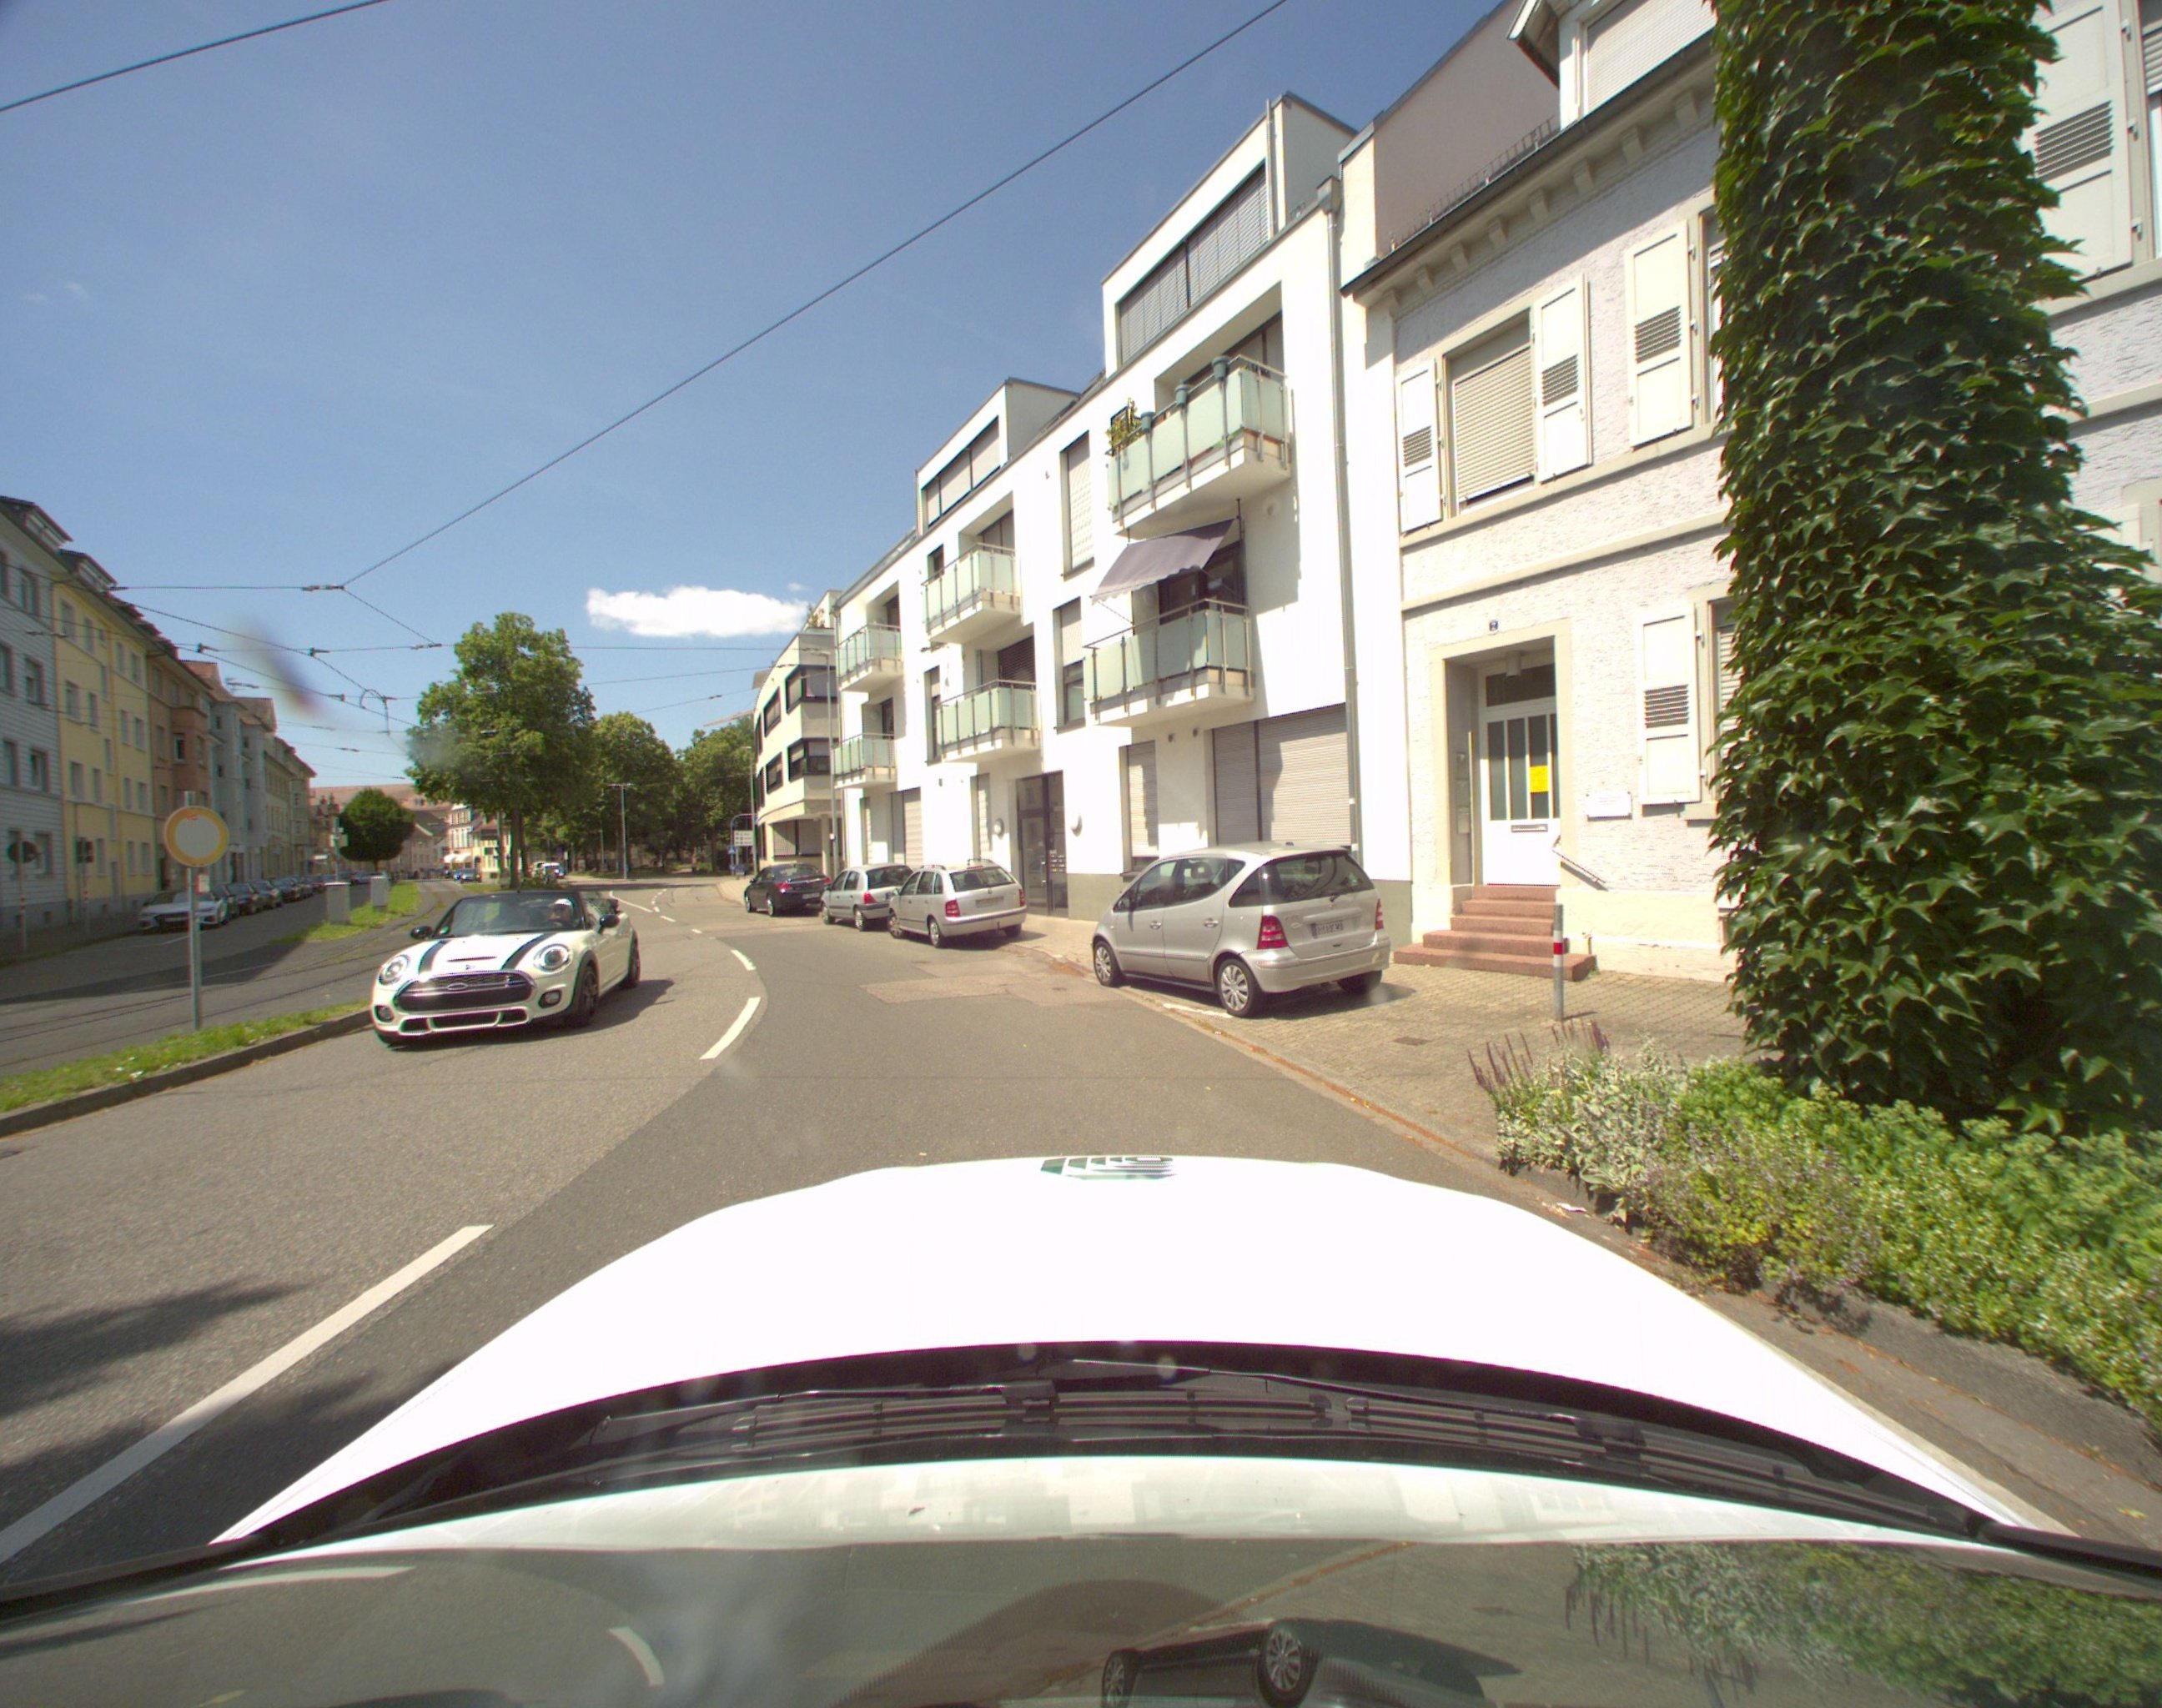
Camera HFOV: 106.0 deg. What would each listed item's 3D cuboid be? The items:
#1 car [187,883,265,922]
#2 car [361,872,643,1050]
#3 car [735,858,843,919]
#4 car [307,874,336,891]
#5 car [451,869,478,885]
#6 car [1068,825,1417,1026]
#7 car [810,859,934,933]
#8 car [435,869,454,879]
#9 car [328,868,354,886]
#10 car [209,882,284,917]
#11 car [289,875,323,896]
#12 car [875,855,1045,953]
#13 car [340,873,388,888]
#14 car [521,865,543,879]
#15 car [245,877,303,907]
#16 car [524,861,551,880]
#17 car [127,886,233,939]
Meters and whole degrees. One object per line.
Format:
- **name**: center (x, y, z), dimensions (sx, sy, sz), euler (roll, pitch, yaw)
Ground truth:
- **car**: center (-38.450, 2.140, 36.717), dimensions (1.846, 1.400, 4.094), euler (-4, 2, -39)
- **car**: center (-6.221, 0.990, 9.258), dimensions (1.781, 1.464, 3.718), euler (-3, 0, -23)
- **car**: center (-9.019, 1.015, 24.920), dimensions (1.814, 1.509, 4.497), euler (-7, 3, -36)
- **car**: center (-70.743, 2.663, 75.891), dimensions (1.701, 1.360, 3.812), euler (-5, 2, -40)
- **car**: center (-64.495, 2.363, 85.234), dimensions (1.920, 1.534, 4.192), euler (-1, 0, -42)
- **car**: center (1.517, 0.639, 9.026), dimensions (1.737, 1.610, 3.766), euler (-5, 1, -27)
- **car**: center (-5.087, 0.941, 19.499), dimensions (1.605, 1.432, 3.667), euler (-7, 3, -34)
- **car**: center (-102.156, 3.158, 130.756), dimensions (3.950, 1.486, 1.878), euler (-1, 0, 44)
- **car**: center (-86.005, 2.647, 94.661), dimensions (1.869, 1.911, 4.715), euler (-5, 2, -39)
- **car**: center (-41.806, 2.215, 40.923), dimensions (1.944, 1.397, 4.807), euler (-5, 2, -38)
- **car**: center (-61.133, 2.449, 64.267), dimensions (1.585, 1.451, 3.583), euler (-5, 2, -39)
- **car**: center (-2.441, 0.851, 15.544), dimensions (1.738, 1.432, 4.003), euler (-7, 3, -30)
- **car**: center (-88.192, 3.254, 100.224), dimensions (4.241, 1.504, 1.979), euler (-5, 3, -44)
- **car**: center (-65.675, 2.109, 97.379), dimensions (1.798, 1.624, 4.434), euler (-2, 1, -38)
- **car**: center (-48.235, 2.214, 48.781), dimensions (1.944, 1.490, 4.806), euler (-5, 2, -39)
- **car**: center (-61.062, 1.879, 91.464), dimensions (2.066, 2.002, 5.189), euler (-2, 1, -38)
- **car**: center (-31.887, 2.012, 28.955), dimensions (1.945, 1.451, 4.324), euler (-6, 3, -41)
